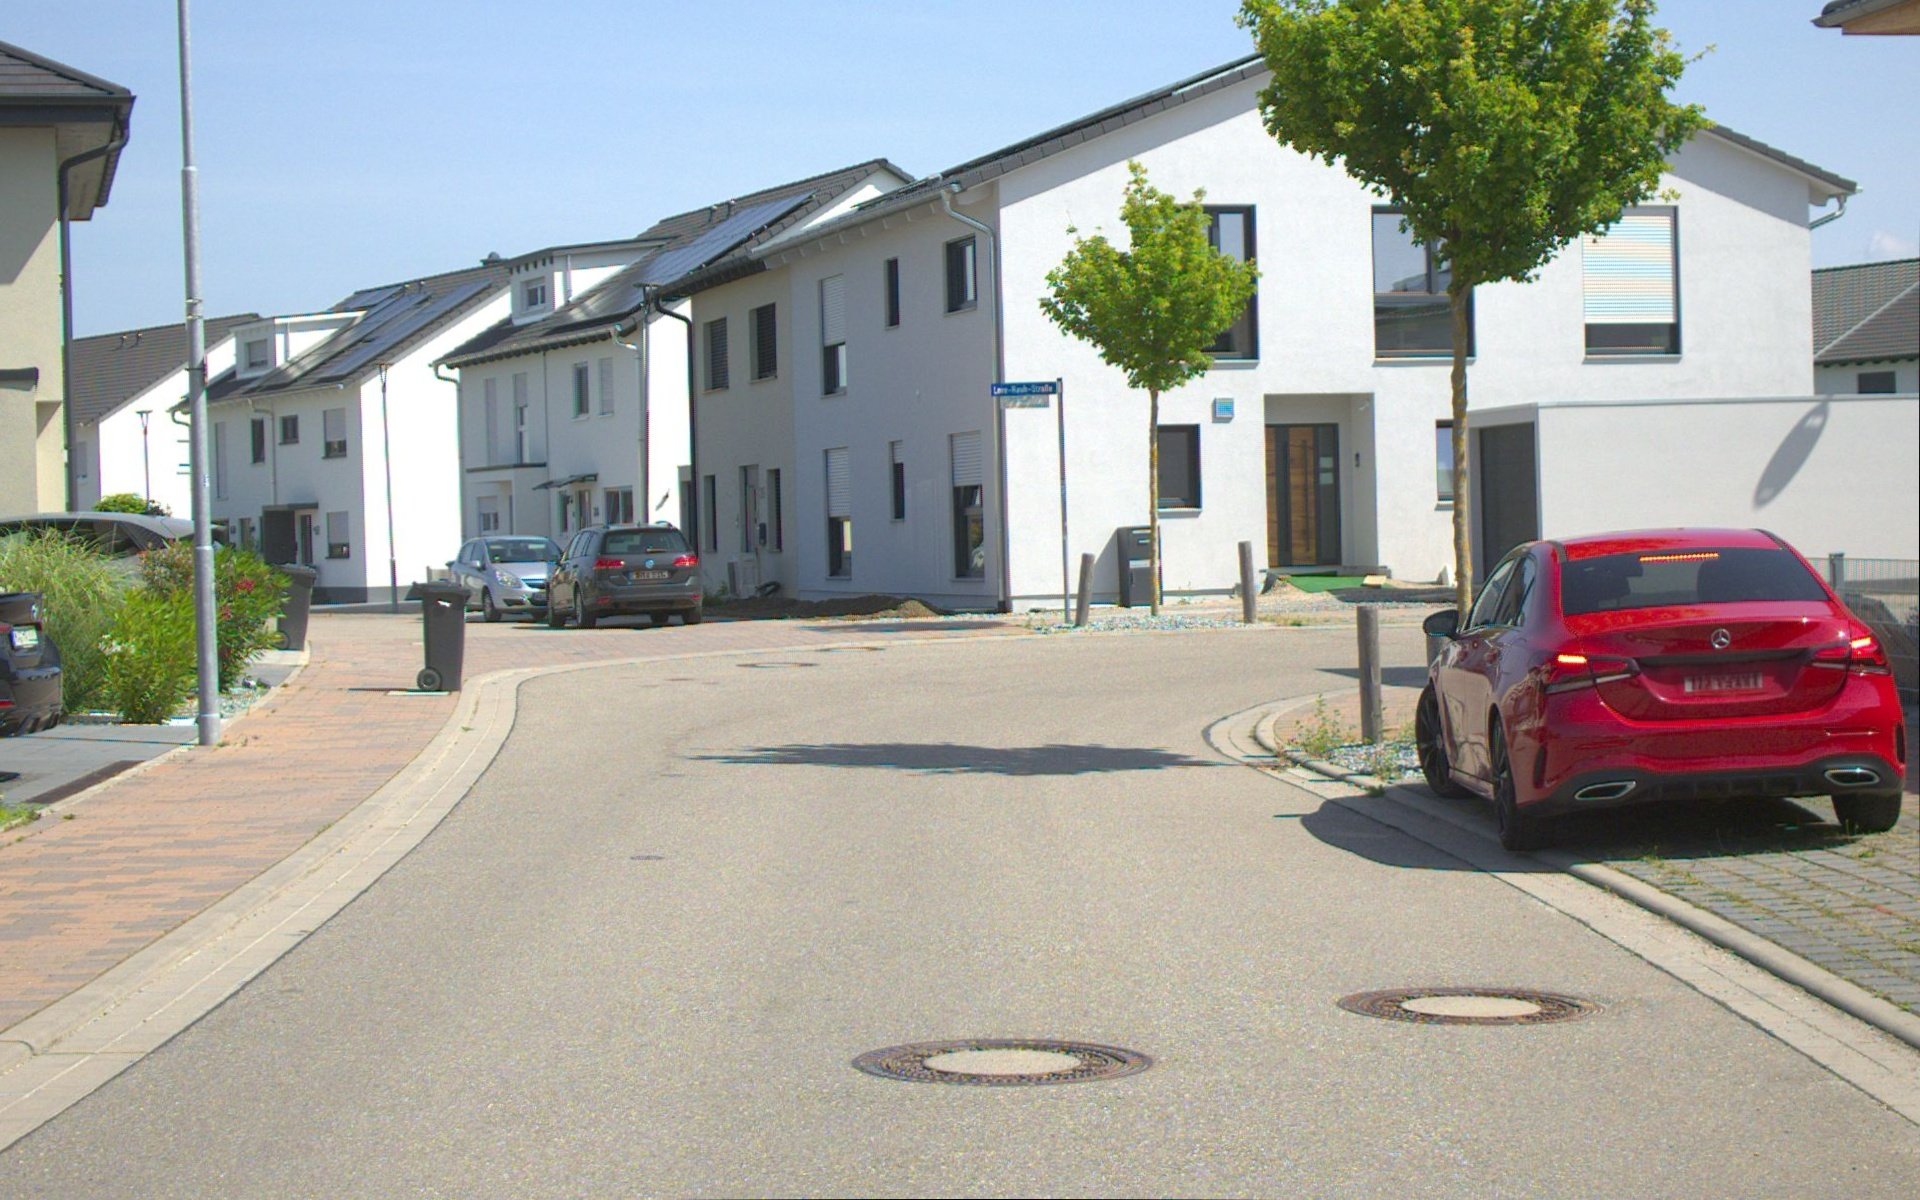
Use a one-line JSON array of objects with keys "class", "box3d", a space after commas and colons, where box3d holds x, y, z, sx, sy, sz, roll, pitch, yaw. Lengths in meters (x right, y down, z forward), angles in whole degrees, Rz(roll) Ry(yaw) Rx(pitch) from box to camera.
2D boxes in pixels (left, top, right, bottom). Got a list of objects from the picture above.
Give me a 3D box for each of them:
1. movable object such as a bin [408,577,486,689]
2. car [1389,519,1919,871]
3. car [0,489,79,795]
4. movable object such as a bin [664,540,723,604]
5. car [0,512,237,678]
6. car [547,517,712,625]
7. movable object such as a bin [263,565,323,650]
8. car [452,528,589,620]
[{"class": "movable object such as a bin", "box3d": [-4.382, 0.280, 29.405, 0.535, 0.932, 0.526, 1, 1, 7]}, {"class": "car", "box3d": [3.288, 0.356, 17.002, 1.762, 1.433, 4.520, -3, 1, 1]}, {"class": "car", "box3d": [-7.291, 0.161, 19.044, 4.375, 1.626, 1.771, 1, 1, -2]}, {"class": "movable object such as a bin", "box3d": [-4.585, -0.484, 59.089, 0.784, 1.046, 0.804, -4, 2, -19]}, {"class": "car", "box3d": [-8.940, -0.053, 32.114, 3.987, 1.481, 1.754, -1, 1, -1]}, {"class": "car", "box3d": [-4.779, -0.428, 49.271, 1.726, 1.418, 4.001, -2, 1, -14]}, {"class": "movable object such as a bin", "box3d": [-7.350, 0.082, 37.899, 0.614, 0.924, 0.423, 1, 0, -13]}, {"class": "car", "box3d": [-7.540, -0.457, 58.719, 1.676, 1.459, 3.946, -2, 1, -16]}]
